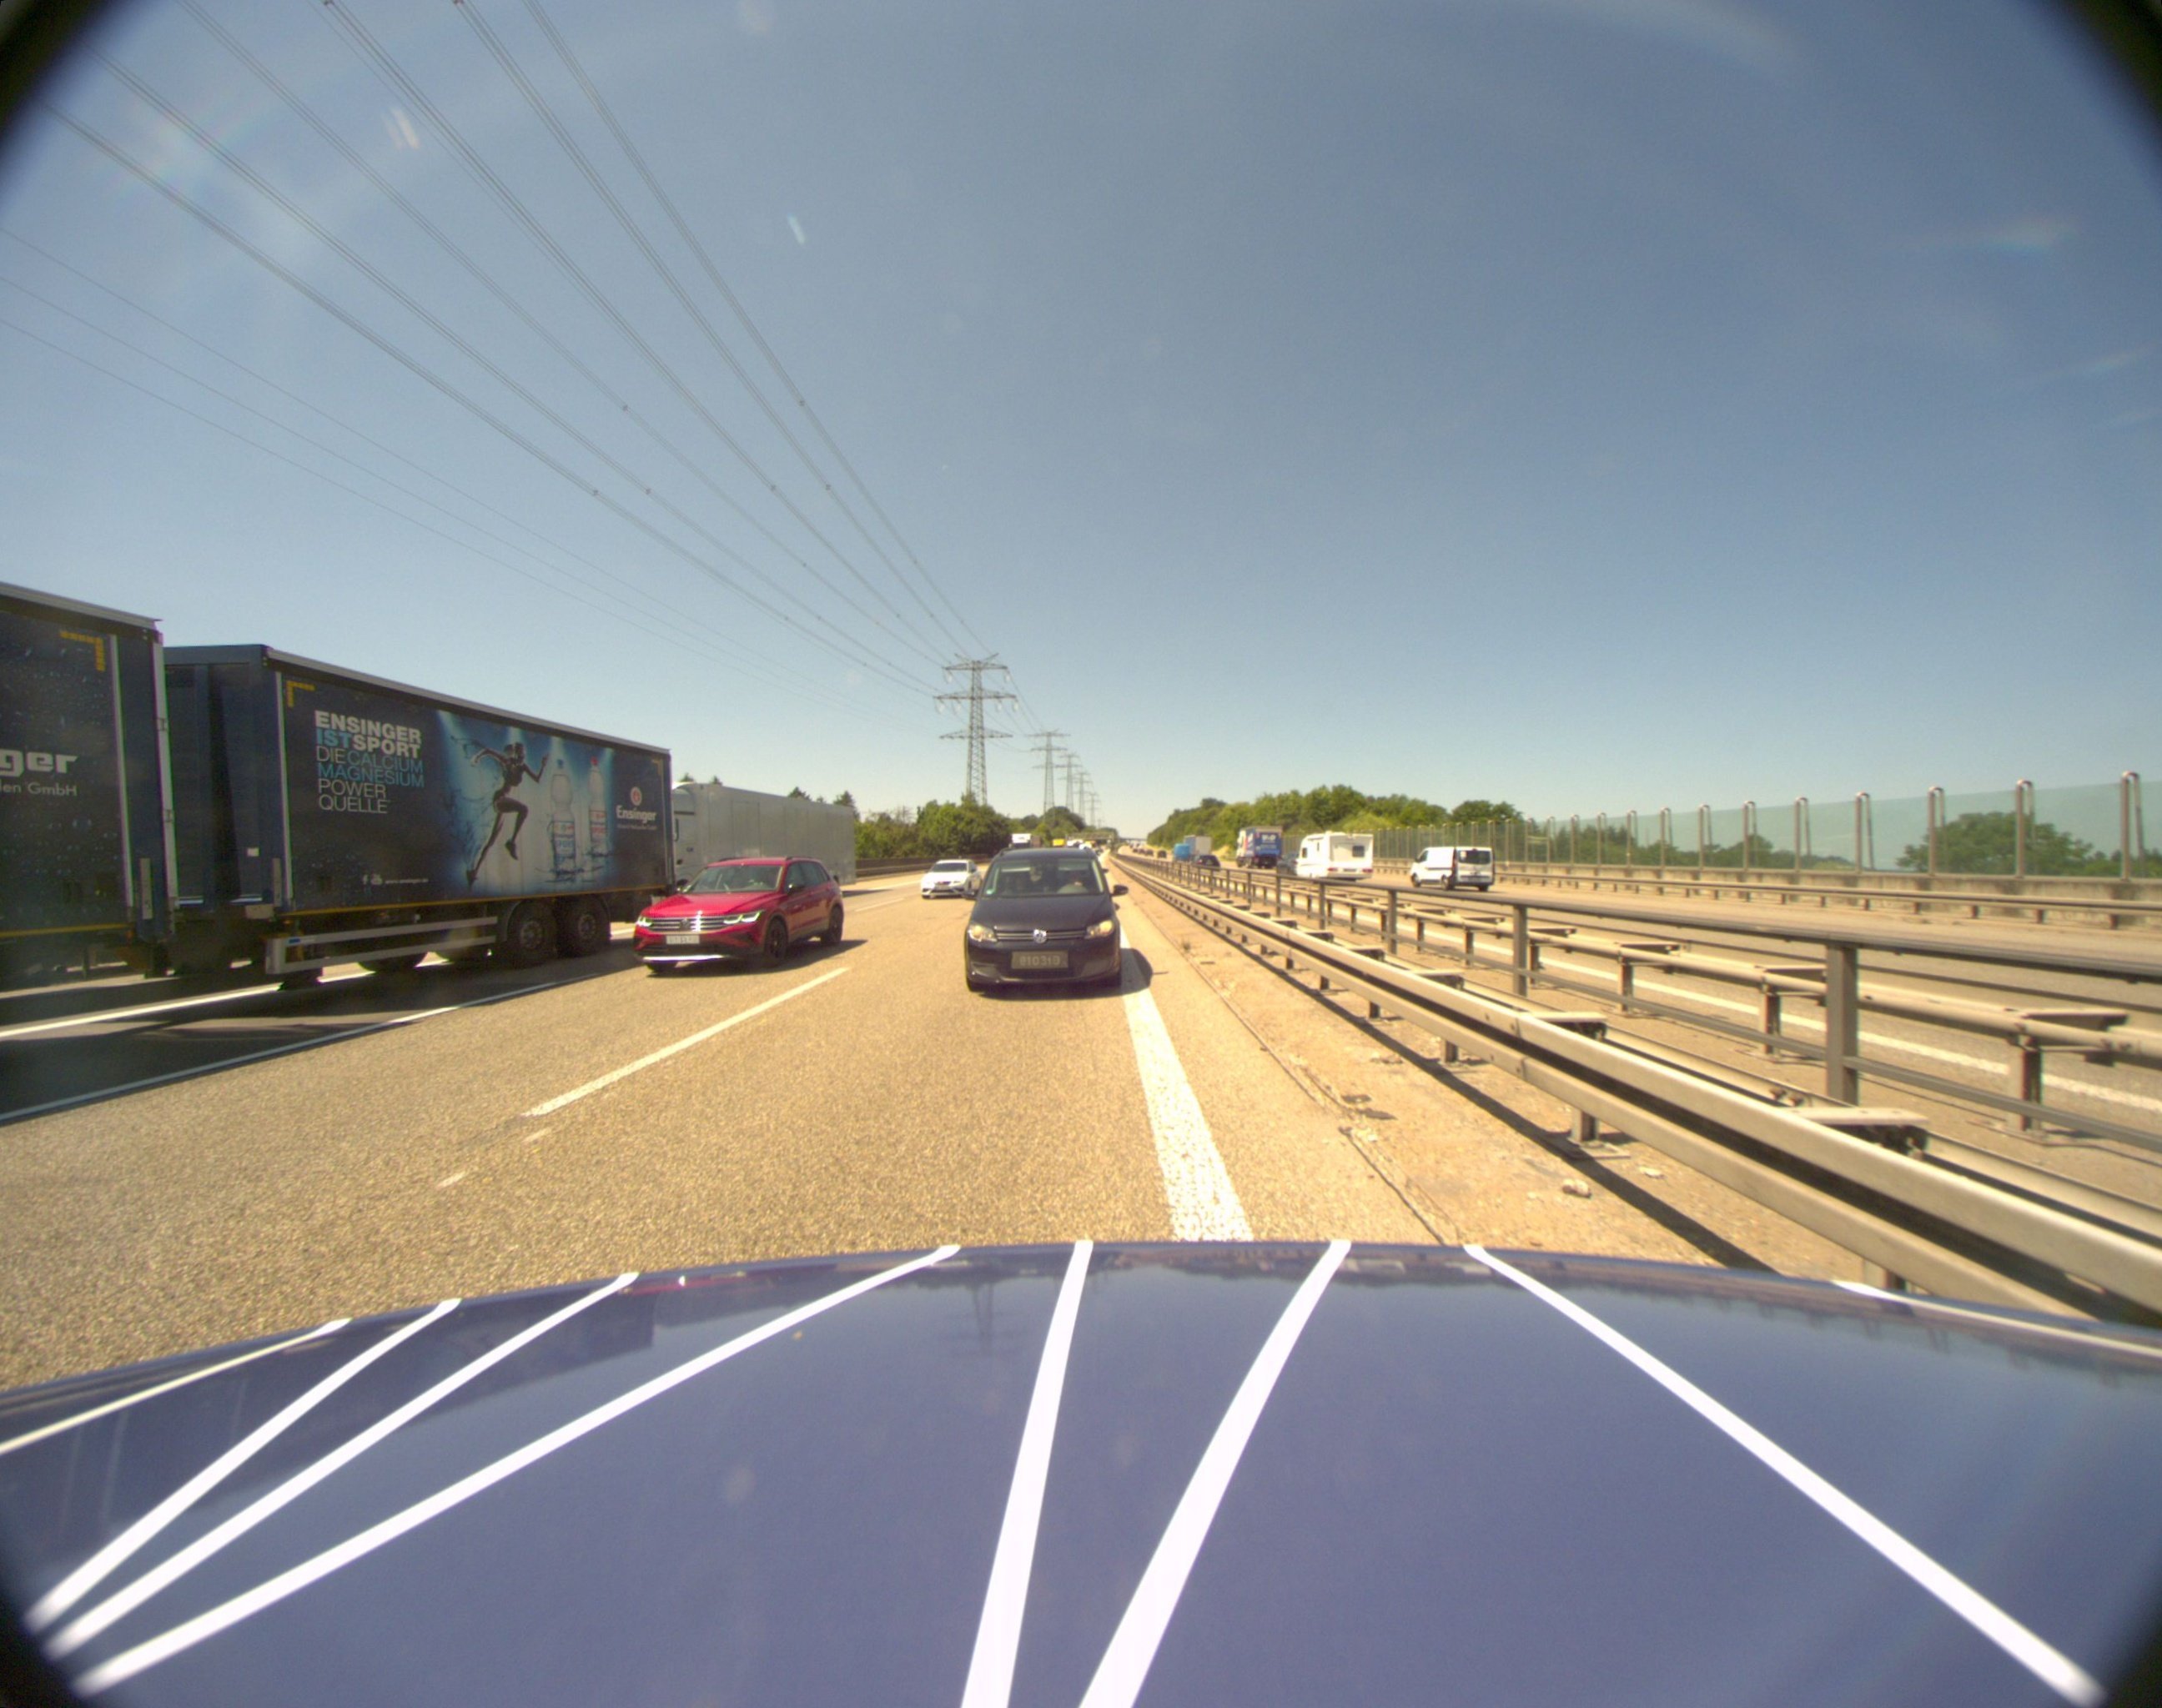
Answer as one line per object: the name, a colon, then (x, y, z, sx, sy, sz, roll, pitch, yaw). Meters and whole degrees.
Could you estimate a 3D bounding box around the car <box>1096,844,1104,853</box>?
car: (4.478, -1.256, 179.803, 1.998, 2.002, 4.000, -2, 1, 1)

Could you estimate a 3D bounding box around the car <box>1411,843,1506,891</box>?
car: (17.013, 0.522, 34.503, 2.039, 1.972, 4.489, 2, 0, 1)

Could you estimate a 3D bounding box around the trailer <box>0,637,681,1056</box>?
trailer: (-9.693, -0.078, 11.473, 2.572, 3.922, 8.478, -2, 1, 1)

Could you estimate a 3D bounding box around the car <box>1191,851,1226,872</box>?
car: (9.156, 0.513, 54.965, 1.853, 1.386, 4.000, 2, 0, 1)

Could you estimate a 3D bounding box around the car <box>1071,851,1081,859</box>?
car: (-0.928, 0.199, 144.792, 1.763, 1.495, 4.094, -1, 0, 0)

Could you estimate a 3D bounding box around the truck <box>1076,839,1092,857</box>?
truck: (0.502, -0.910, 115.170, 2.284, 2.479, 5.861, -2, 1, 1)

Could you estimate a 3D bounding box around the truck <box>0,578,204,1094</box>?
truck: (-9.756, -0.084, 2.001, 2.529, 4.043, 10.446, -2, 0, 1)

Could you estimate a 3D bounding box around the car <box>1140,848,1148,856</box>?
car: (18.644, -0.610, 225.674, 1.986, 2.058, 4.239, 1, 1, 1)

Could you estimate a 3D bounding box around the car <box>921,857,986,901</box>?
car: (-4.845, 0.918, 29.426, 1.843, 1.481, 4.071, -2, 1, -1)

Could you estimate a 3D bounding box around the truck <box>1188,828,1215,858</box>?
truck: (18.847, -1.757, 119.499, 2.876, 4.514, 9.988, 2, 1, 2)

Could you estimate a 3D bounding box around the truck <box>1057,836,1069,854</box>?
truck: (-4.170, -2.078, 176.161, 2.346, 4.058, 8.278, -2, 1, 1)

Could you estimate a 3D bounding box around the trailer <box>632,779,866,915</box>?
trailer: (-12.241, -0.277, 30.425, 2.541, 4.096, 13.774, -2, 0, 3)

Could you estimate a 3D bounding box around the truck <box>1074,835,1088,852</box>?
truck: (-0.034, -2.459, 180.199, 2.980, 3.832, 10.561, -2, 1, 1)

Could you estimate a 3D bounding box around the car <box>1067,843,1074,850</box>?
car: (-3.070, -2.045, 218.286, 1.998, 2.002, 4.000, 0, 1, 1)

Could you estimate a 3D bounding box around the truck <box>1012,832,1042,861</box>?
truck: (-7.191, -1.058, 102.050, 2.985, 3.538, 10.966, -2, 1, 1)

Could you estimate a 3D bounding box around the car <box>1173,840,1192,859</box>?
car: (14.388, -0.617, 107.610, 1.986, 2.576, 5.036, 1, 1, 1)

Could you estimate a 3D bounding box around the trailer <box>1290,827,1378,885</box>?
trailer: (12.694, 0.075, 38.638, 2.322, 2.690, 6.360, 1, 1, 1)

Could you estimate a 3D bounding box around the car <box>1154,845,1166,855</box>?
car: (16.153, -0.878, 154.657, 1.986, 2.058, 4.239, 1, 1, 1)

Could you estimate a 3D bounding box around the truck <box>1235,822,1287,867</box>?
truck: (17.719, -0.969, 75.474, 2.876, 4.062, 9.988, 2, 1, 2)

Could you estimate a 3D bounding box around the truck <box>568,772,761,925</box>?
truck: (-12.587, -0.164, 23.631, 2.522, 4.096, 5.716, -2, 1, 2)

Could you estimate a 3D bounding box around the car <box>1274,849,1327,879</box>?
car: (12.645, 0.543, 44.015, 1.806, 1.632, 4.268, 1, 1, 1)

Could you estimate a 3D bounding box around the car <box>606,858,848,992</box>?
car: (-5.252, 0.931, 11.990, 1.779, 1.652, 4.224, -1, 0, 0)

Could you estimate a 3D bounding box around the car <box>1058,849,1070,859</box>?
car: (-2.606, 0.003, 118.454, 1.763, 1.495, 4.094, -1, 1, -1)

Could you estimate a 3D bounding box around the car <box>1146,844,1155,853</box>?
car: (16.997, -1.430, 186.019, 1.986, 2.058, 4.239, 1, 1, 1)

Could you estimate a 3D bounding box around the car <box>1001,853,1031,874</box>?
car: (-4.772, 0.678, 56.357, 1.739, 1.437, 4.210, -1, 0, 2)

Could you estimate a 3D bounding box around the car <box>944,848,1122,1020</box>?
car: (-0.476, 0.797, 9.659, 1.740, 1.652, 3.999, -2, 1, 0)

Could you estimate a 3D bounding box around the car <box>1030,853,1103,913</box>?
car: (-0.354, 0.749, 21.775, 1.845, 1.495, 4.377, -1, 0, 1)

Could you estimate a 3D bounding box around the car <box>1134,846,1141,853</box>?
car: (19.658, -1.561, 263.981, 1.986, 2.058, 4.239, 1, 1, 1)
